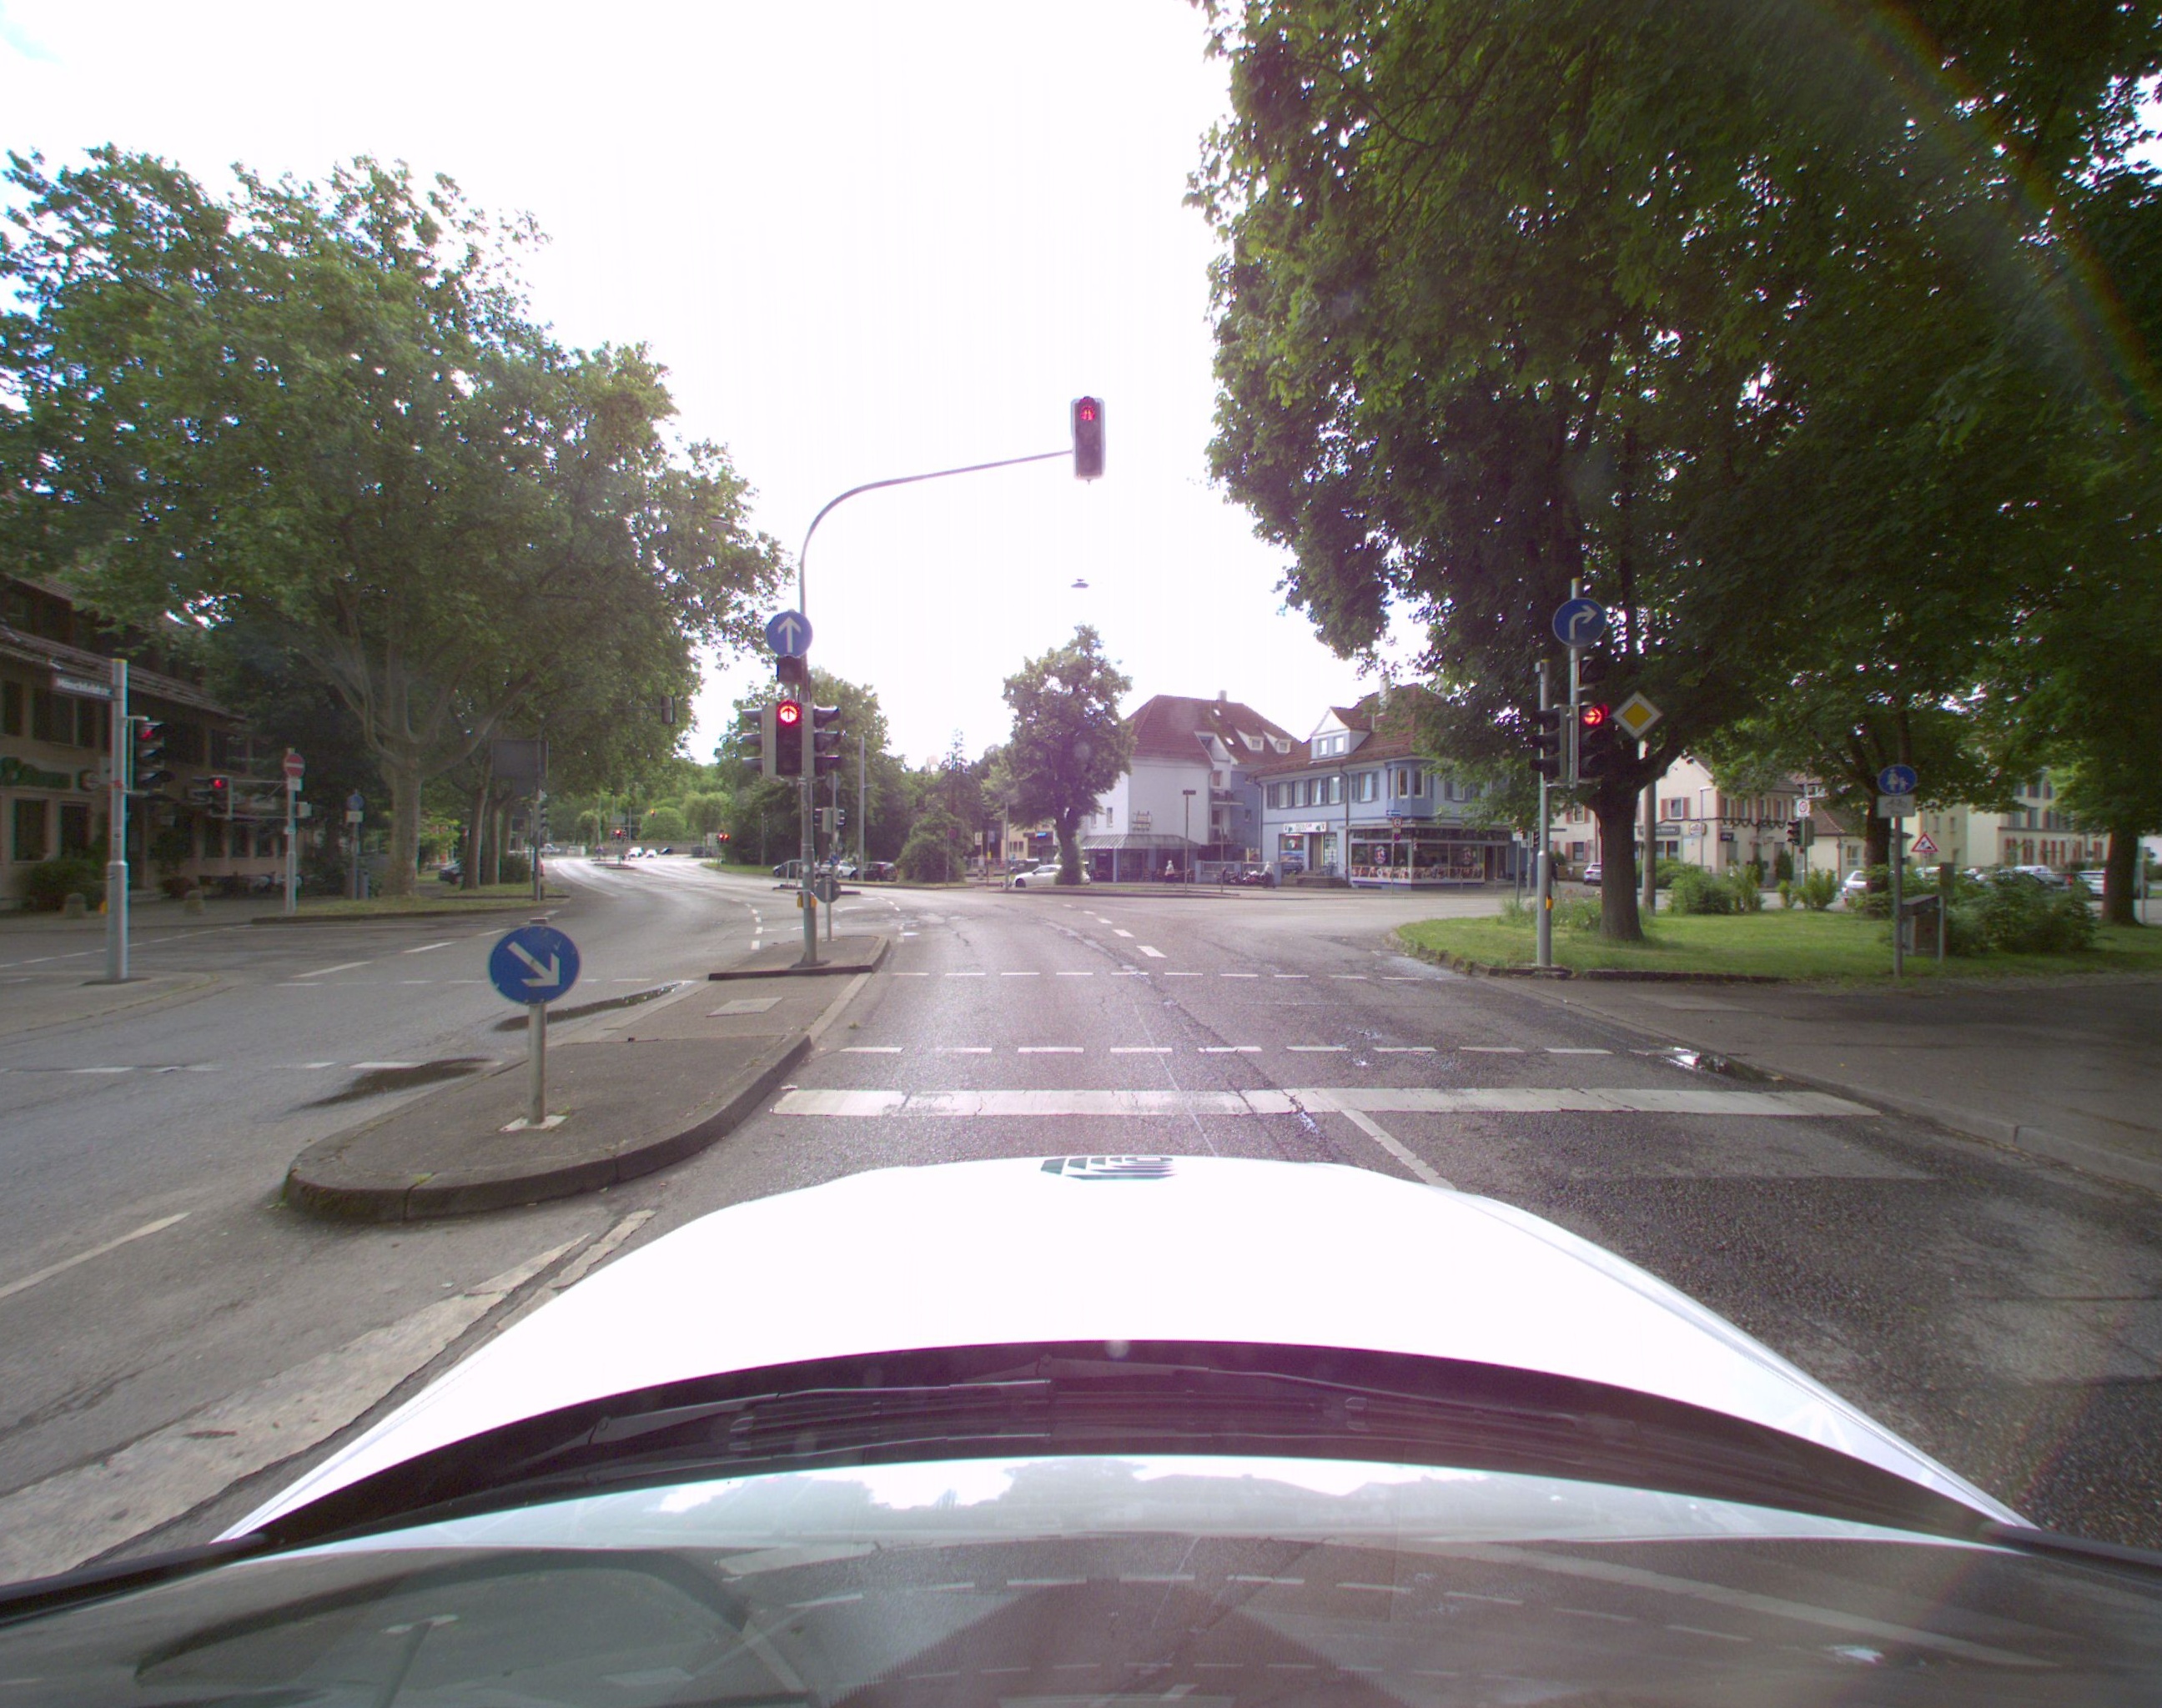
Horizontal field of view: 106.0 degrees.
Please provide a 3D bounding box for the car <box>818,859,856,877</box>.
[{"bbox_3d":[-20.081,1.133,67.184,1.534,1.464,3.407,0,0,13],"label":"car"}]

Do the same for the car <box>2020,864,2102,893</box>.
[{"bbox_3d":[47.004,1.167,39.060,3.511,1.321,1.549,0,0,-22],"label":"car"}]

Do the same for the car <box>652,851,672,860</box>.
[{"bbox_3d":[-95.507,0.443,185.595,4.011,2.014,1.981,0,-1,-29],"label":"car"}]

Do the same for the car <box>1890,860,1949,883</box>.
[{"bbox_3d":[55.115,1.128,53.531,4.007,1.420,1.544,0,0,-26],"label":"car"}]

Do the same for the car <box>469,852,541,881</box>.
[{"bbox_3d":[-35.484,0.758,50.279,3.461,1.742,1.557,0,-1,-31],"label":"car"}]

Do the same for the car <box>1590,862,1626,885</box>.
[{"bbox_3d":[32.603,1.186,50.341,1.481,1.369,3.198,-1,-1,40],"label":"car"}]

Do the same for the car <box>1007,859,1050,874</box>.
[{"bbox_3d":[-4.883,1.138,76.154,3.752,1.345,1.422,0,0,-25],"label":"car"}]

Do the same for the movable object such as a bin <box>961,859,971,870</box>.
[{"bbox_3d":[-12.224,1.123,86.637,0.953,1.115,0.381,0,-1,-19],"label":"movable object such as a bin"}]

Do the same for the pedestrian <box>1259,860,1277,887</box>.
[{"bbox_3d":[10.680,1.123,46.524,0.759,1.545,0.682,-1,-1,41],"label":"pedestrian"}]

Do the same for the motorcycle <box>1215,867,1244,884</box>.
[{"bbox_3d":[9.114,1.315,50.076,0.699,1.064,1.617,0,-1,-44],"label":"motorcycle"}]

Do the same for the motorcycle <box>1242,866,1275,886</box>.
[{"bbox_3d":[10.535,1.289,48.262,1.777,1.121,0.699,0,-1,40],"label":"motorcycle"}]

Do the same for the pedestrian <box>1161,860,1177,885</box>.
[{"bbox_3d":[5.474,1.121,50.800,0.699,1.545,0.682,-1,-1,42],"label":"pedestrian"}]

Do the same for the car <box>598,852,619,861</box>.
[{"bbox_3d":[-106.186,0.500,183.018,4.011,2.014,1.981,0,-1,-29],"label":"car"}]

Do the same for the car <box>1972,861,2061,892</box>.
[{"bbox_3d":[42.217,0.977,36.753,3.510,1.321,1.549,0,0,-21],"label":"car"}]

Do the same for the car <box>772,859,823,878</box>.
[{"bbox_3d":[-22.439,1.116,64.481,3.520,1.464,1.591,0,0,14],"label":"car"}]

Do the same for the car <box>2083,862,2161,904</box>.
[{"bbox_3d":[52.831,1.436,41.127,4.004,2.014,1.770,0,-1,-23],"label":"car"}]

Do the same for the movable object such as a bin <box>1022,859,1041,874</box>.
[{"bbox_3d":[-4.525,1.136,74.247,1.447,1.409,0.959,0,-1,-25],"label":"movable object such as a bin"}]

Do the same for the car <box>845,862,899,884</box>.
[{"bbox_3d":[-13.907,1.268,54.203,3.549,1.394,1.481,0,-1,34],"label":"car"}]

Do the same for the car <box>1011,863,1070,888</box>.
[{"bbox_3d":[-2.308,1.203,46.237,3.134,1.354,1.448,0,-1,36],"label":"car"}]

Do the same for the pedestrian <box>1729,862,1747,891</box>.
[{"bbox_3d":[37.293,1.264,46.214,0.610,1.649,0.606,0,-1,-26],"label":"pedestrian"}]

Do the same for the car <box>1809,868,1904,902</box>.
[{"bbox_3d":[31.964,1.252,33.568,3.511,1.321,1.549,0,0,-22],"label":"car"}]

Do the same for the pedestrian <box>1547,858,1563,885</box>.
[{"bbox_3d":[27.041,0.976,46.454,0.459,1.517,0.584,0,-1,-19],"label":"pedestrian"}]

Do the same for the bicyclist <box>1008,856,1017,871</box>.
[{"bbox_3d":[-7.001,0.974,82.891,0.592,1.541,0.744,0,-1,29],"label":"bicyclist"}]

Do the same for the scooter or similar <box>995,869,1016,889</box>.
[{"bbox_3d":[-3.977,1.291,42.880,0.413,1.011,1.575,-1,-1,22],"label":"scooter or similar"}]

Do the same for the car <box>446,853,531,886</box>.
[{"bbox_3d":[-31.001,0.785,42.714,3.461,1.641,1.557,0,-1,-31],"label":"car"}]
